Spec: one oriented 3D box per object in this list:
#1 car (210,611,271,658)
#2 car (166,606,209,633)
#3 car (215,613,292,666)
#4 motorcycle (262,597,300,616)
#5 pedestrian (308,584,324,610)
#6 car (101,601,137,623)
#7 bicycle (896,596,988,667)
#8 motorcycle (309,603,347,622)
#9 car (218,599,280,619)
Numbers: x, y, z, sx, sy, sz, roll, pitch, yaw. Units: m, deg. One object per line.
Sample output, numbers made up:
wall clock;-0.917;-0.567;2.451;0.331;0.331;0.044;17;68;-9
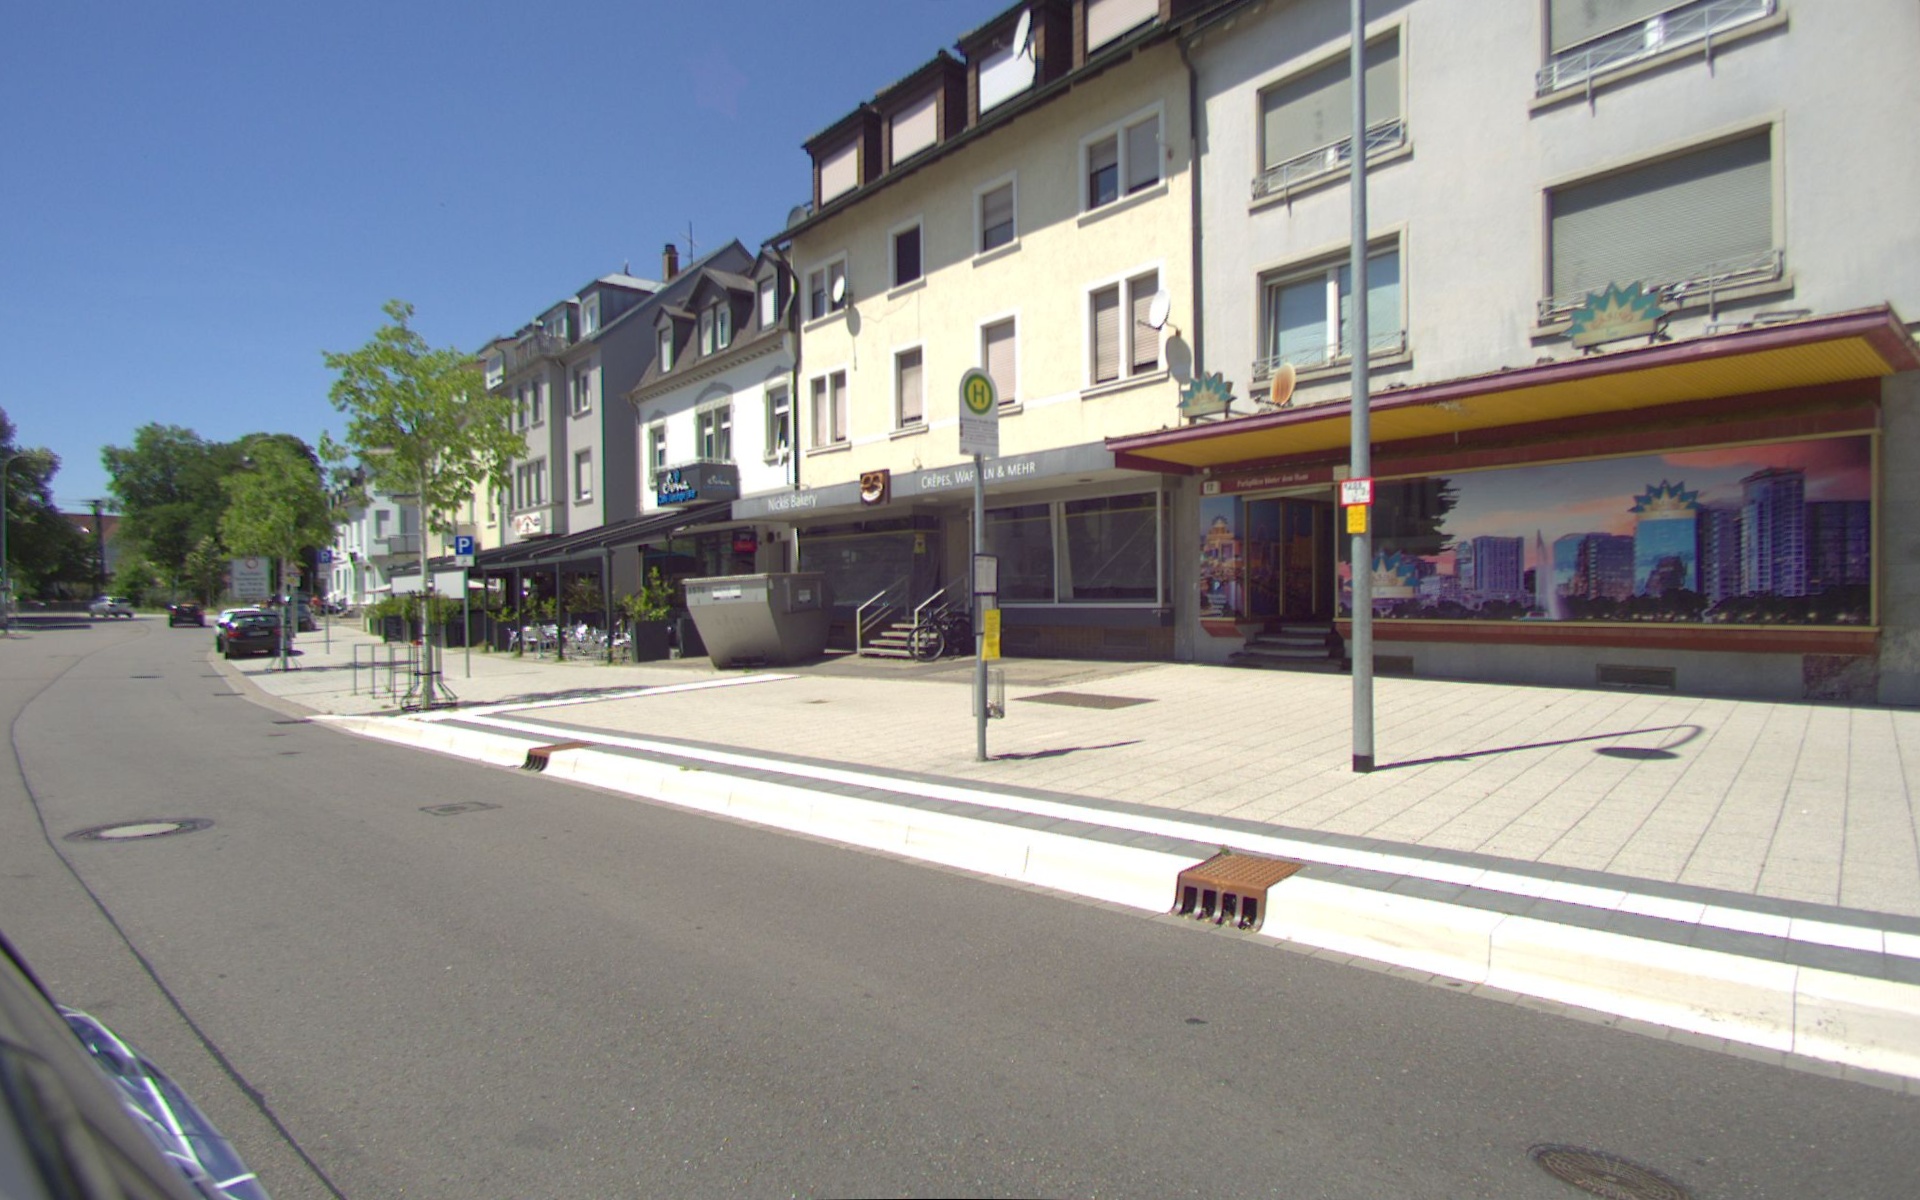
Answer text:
car;-25.996;1.198;36.653;1.658;1.495;3.778;-3;1;-34
car;-44.515;1.113;58.376;1.594;1.465;3.875;2;-1;-33
car;-22.773;1.202;32.546;1.732;1.456;4.458;-5;2;-38
motorcycle;-49.829;0.465;74.322;2.286;1.335;0.727;0;-1;-37
pedestrian;-44.341;-0.199;69.678;0.802;1.779;0.748;0;-1;41
car;-61.499;0.858;74.034;1.658;1.495;4.096;2;0;-35
bicycle;-0.341;0.581;19.665;1.743;1.243;0.617;-4;2;-40
motorcycle;-45.793;0.875;73.305;2.286;1.335;0.727;0;-1;-37
car;-58.166;0.738;82.909;1.820;1.548;3.919;0;0;16
